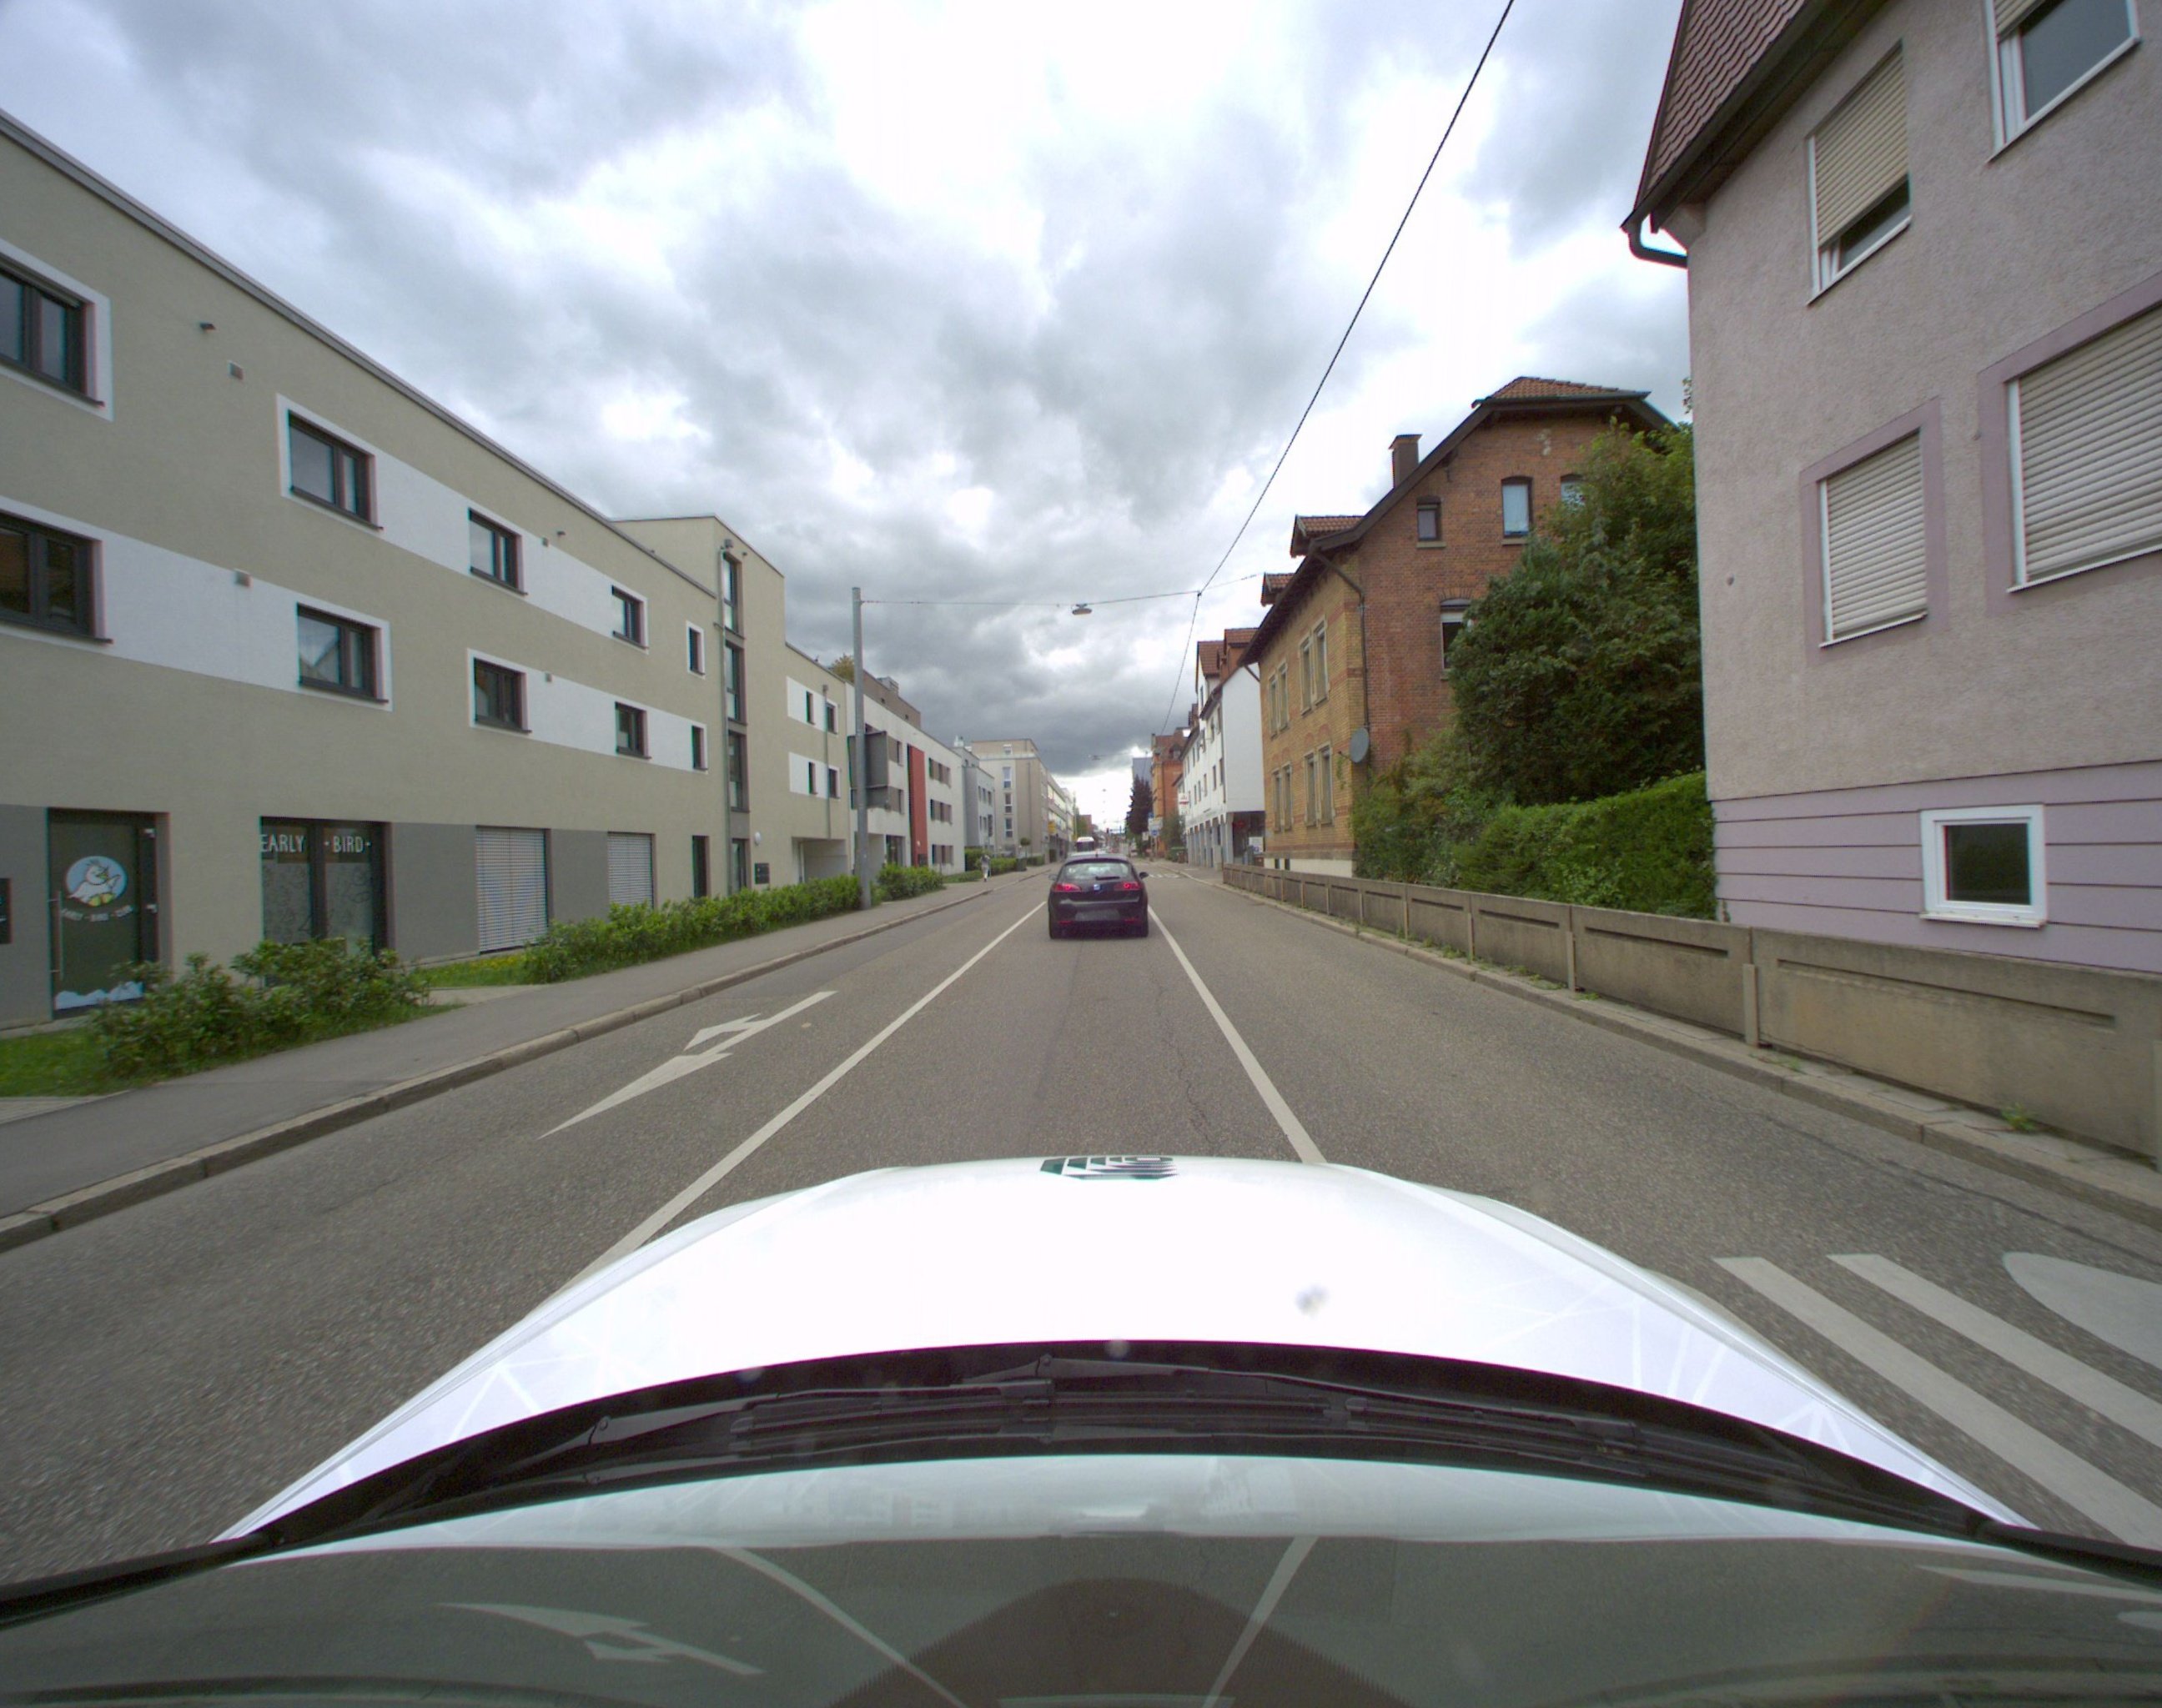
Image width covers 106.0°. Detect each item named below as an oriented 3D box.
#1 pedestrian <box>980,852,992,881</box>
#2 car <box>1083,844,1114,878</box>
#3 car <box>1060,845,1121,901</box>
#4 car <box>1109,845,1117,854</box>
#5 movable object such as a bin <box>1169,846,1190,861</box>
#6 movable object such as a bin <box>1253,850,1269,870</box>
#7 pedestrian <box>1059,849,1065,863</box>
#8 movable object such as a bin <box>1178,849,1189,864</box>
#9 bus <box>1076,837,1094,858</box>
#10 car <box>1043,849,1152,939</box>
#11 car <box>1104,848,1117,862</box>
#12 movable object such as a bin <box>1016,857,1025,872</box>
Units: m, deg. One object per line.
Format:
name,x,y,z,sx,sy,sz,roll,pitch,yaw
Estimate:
pedestrian,-5.073,0.668,43.459,0.524,1.548,0.541,-1,-1,2
car,0.942,0.360,42.576,1.526,1.693,3.694,-1,0,2
car,0.356,0.581,26.681,1.835,1.693,4.001,-1,0,2
car,6.645,-0.871,167.641,1.526,1.693,3.695,-2,0,2
movable object such as a bin,9.468,-0.060,78.406,1.810,1.437,1.994,-1,0,3
movable object such as a bin,7.899,0.270,35.676,0.590,0.840,0.458,-1,-1,2
pedestrian,-2.346,0.243,100.841,0.728,1.729,0.860,-1,-1,1
movable object such as a bin,9.354,0.225,74.091,0.925,1.283,0.883,-1,-1,3
bus,0.642,-0.905,116.939,2.202,2.886,8.924,-1,0,2
car,0.342,0.666,15.283,1.752,1.442,4.002,-1,0,2
car,3.631,0.118,99.481,1.526,1.693,3.694,-1,0,2
movable object such as a bin,-4.580,0.794,61.791,0.547,1.078,0.612,-1,-1,3
